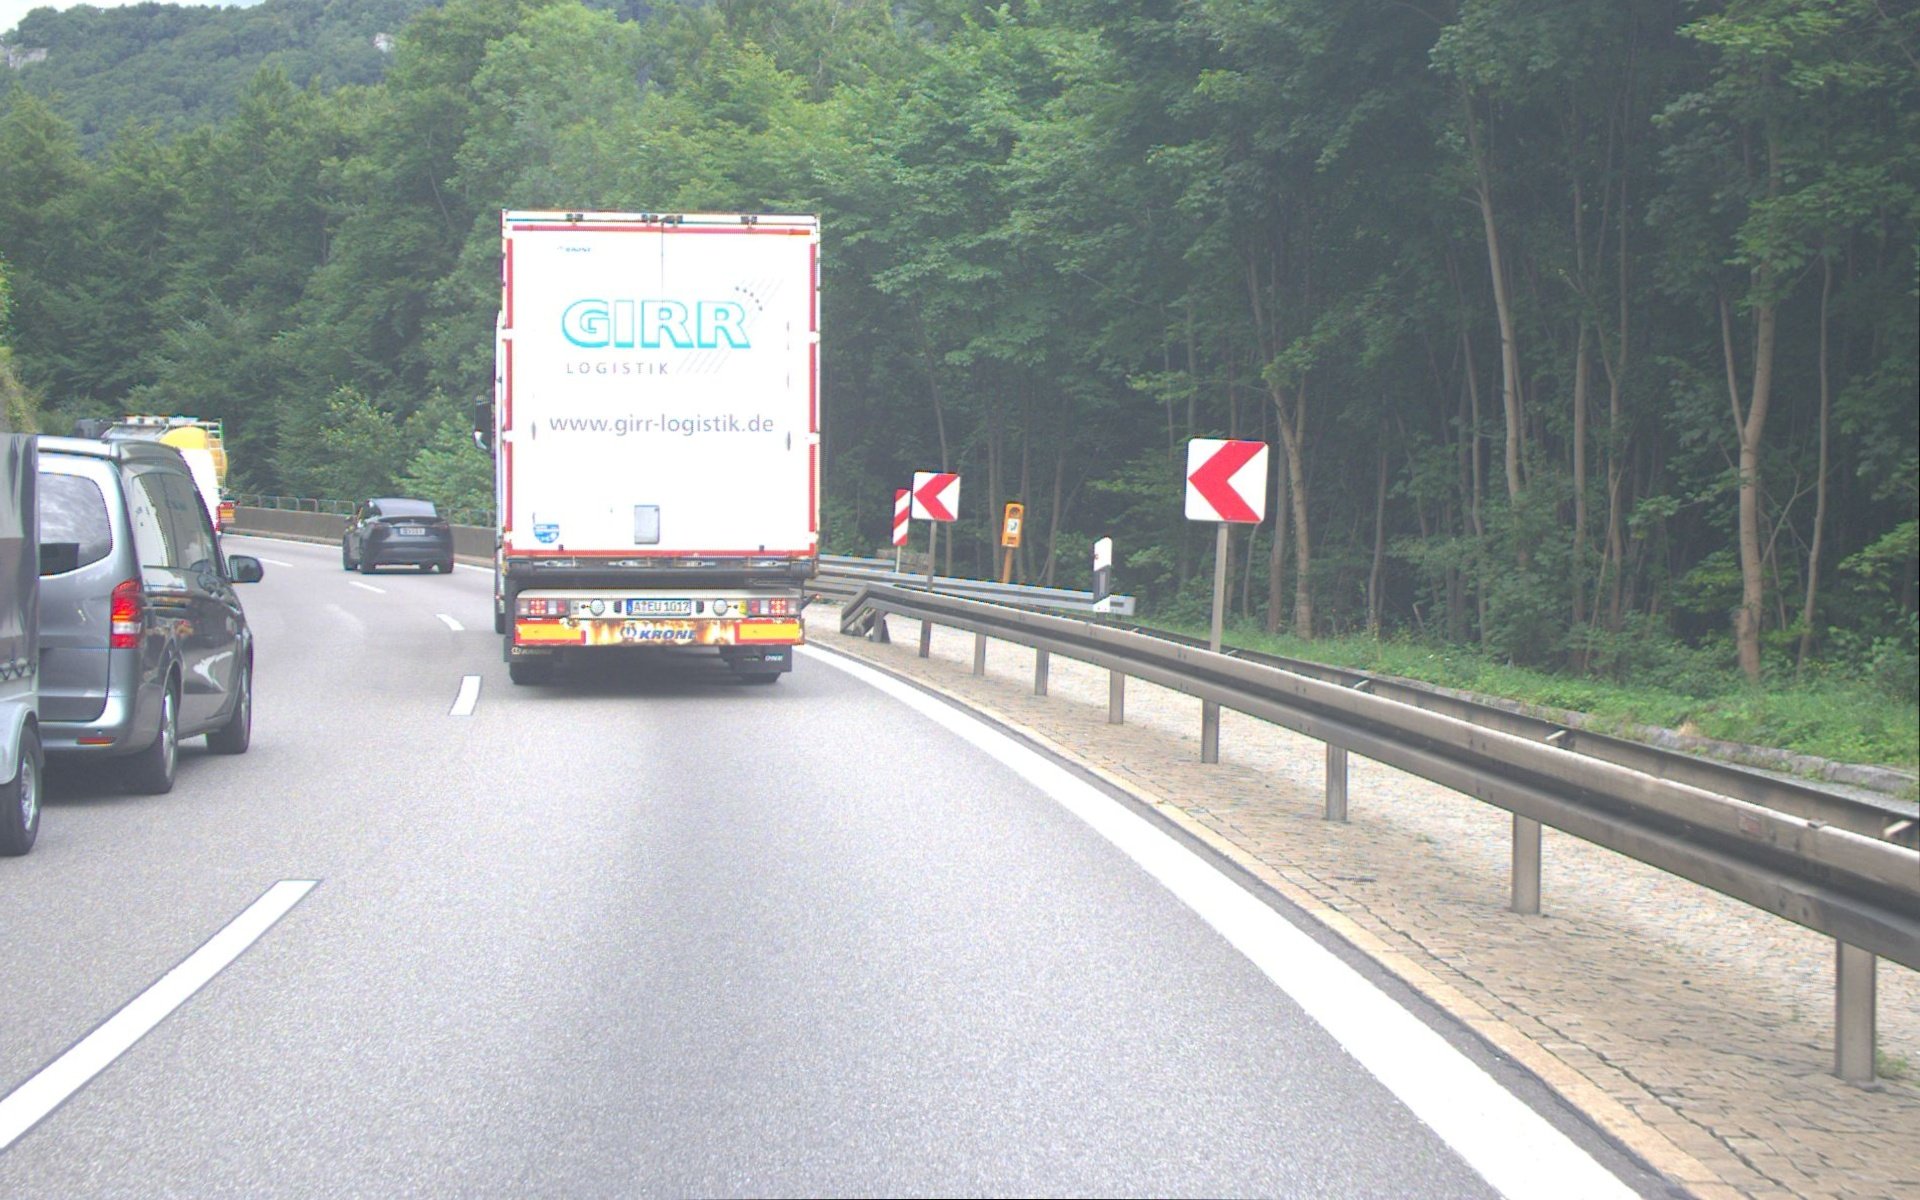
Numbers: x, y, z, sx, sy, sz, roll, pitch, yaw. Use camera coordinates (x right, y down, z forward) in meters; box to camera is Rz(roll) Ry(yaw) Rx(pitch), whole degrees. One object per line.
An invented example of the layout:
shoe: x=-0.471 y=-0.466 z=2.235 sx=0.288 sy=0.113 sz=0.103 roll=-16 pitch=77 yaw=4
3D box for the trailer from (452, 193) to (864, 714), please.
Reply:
trailer: x=-3.196 y=-1.469 z=33.307 sx=3.057 sy=3.972 sz=12.141 roll=3 pitch=3 yaw=-8

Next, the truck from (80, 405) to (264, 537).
truck: x=-25.338 y=-4.138 z=109.894 sx=3.057 sy=3.972 sz=13.702 roll=-1 pitch=2 yaw=-24

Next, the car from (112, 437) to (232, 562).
car: x=-18.122 y=-2.342 z=78.865 sx=1.988 sy=2.663 sz=6.939 roll=2 pitch=1 yaw=-18

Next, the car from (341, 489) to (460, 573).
car: x=-11.983 y=-1.492 z=73.443 sx=1.993 sy=1.656 sz=4.002 roll=2 pitch=1 yaw=-16

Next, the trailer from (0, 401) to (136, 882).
trailer: x=-4.965 y=0.117 z=15.387 sx=1.970 sy=1.932 sz=3.431 roll=0 pitch=1 yaw=-5

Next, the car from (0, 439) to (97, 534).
car: x=-27.230 y=-3.419 z=102.307 sx=1.939 sy=2.663 sz=5.993 roll=2 pitch=2 yaw=-24

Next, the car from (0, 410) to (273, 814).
car: x=-5.310 y=-0.014 z=19.843 sx=1.993 sy=2.007 sz=5.541 roll=0 pitch=1 yaw=-5

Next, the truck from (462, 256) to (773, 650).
truck: x=-4.069 y=-1.726 z=39.679 sx=3.057 sy=3.972 sz=7.190 roll=3 pitch=3 yaw=-8
